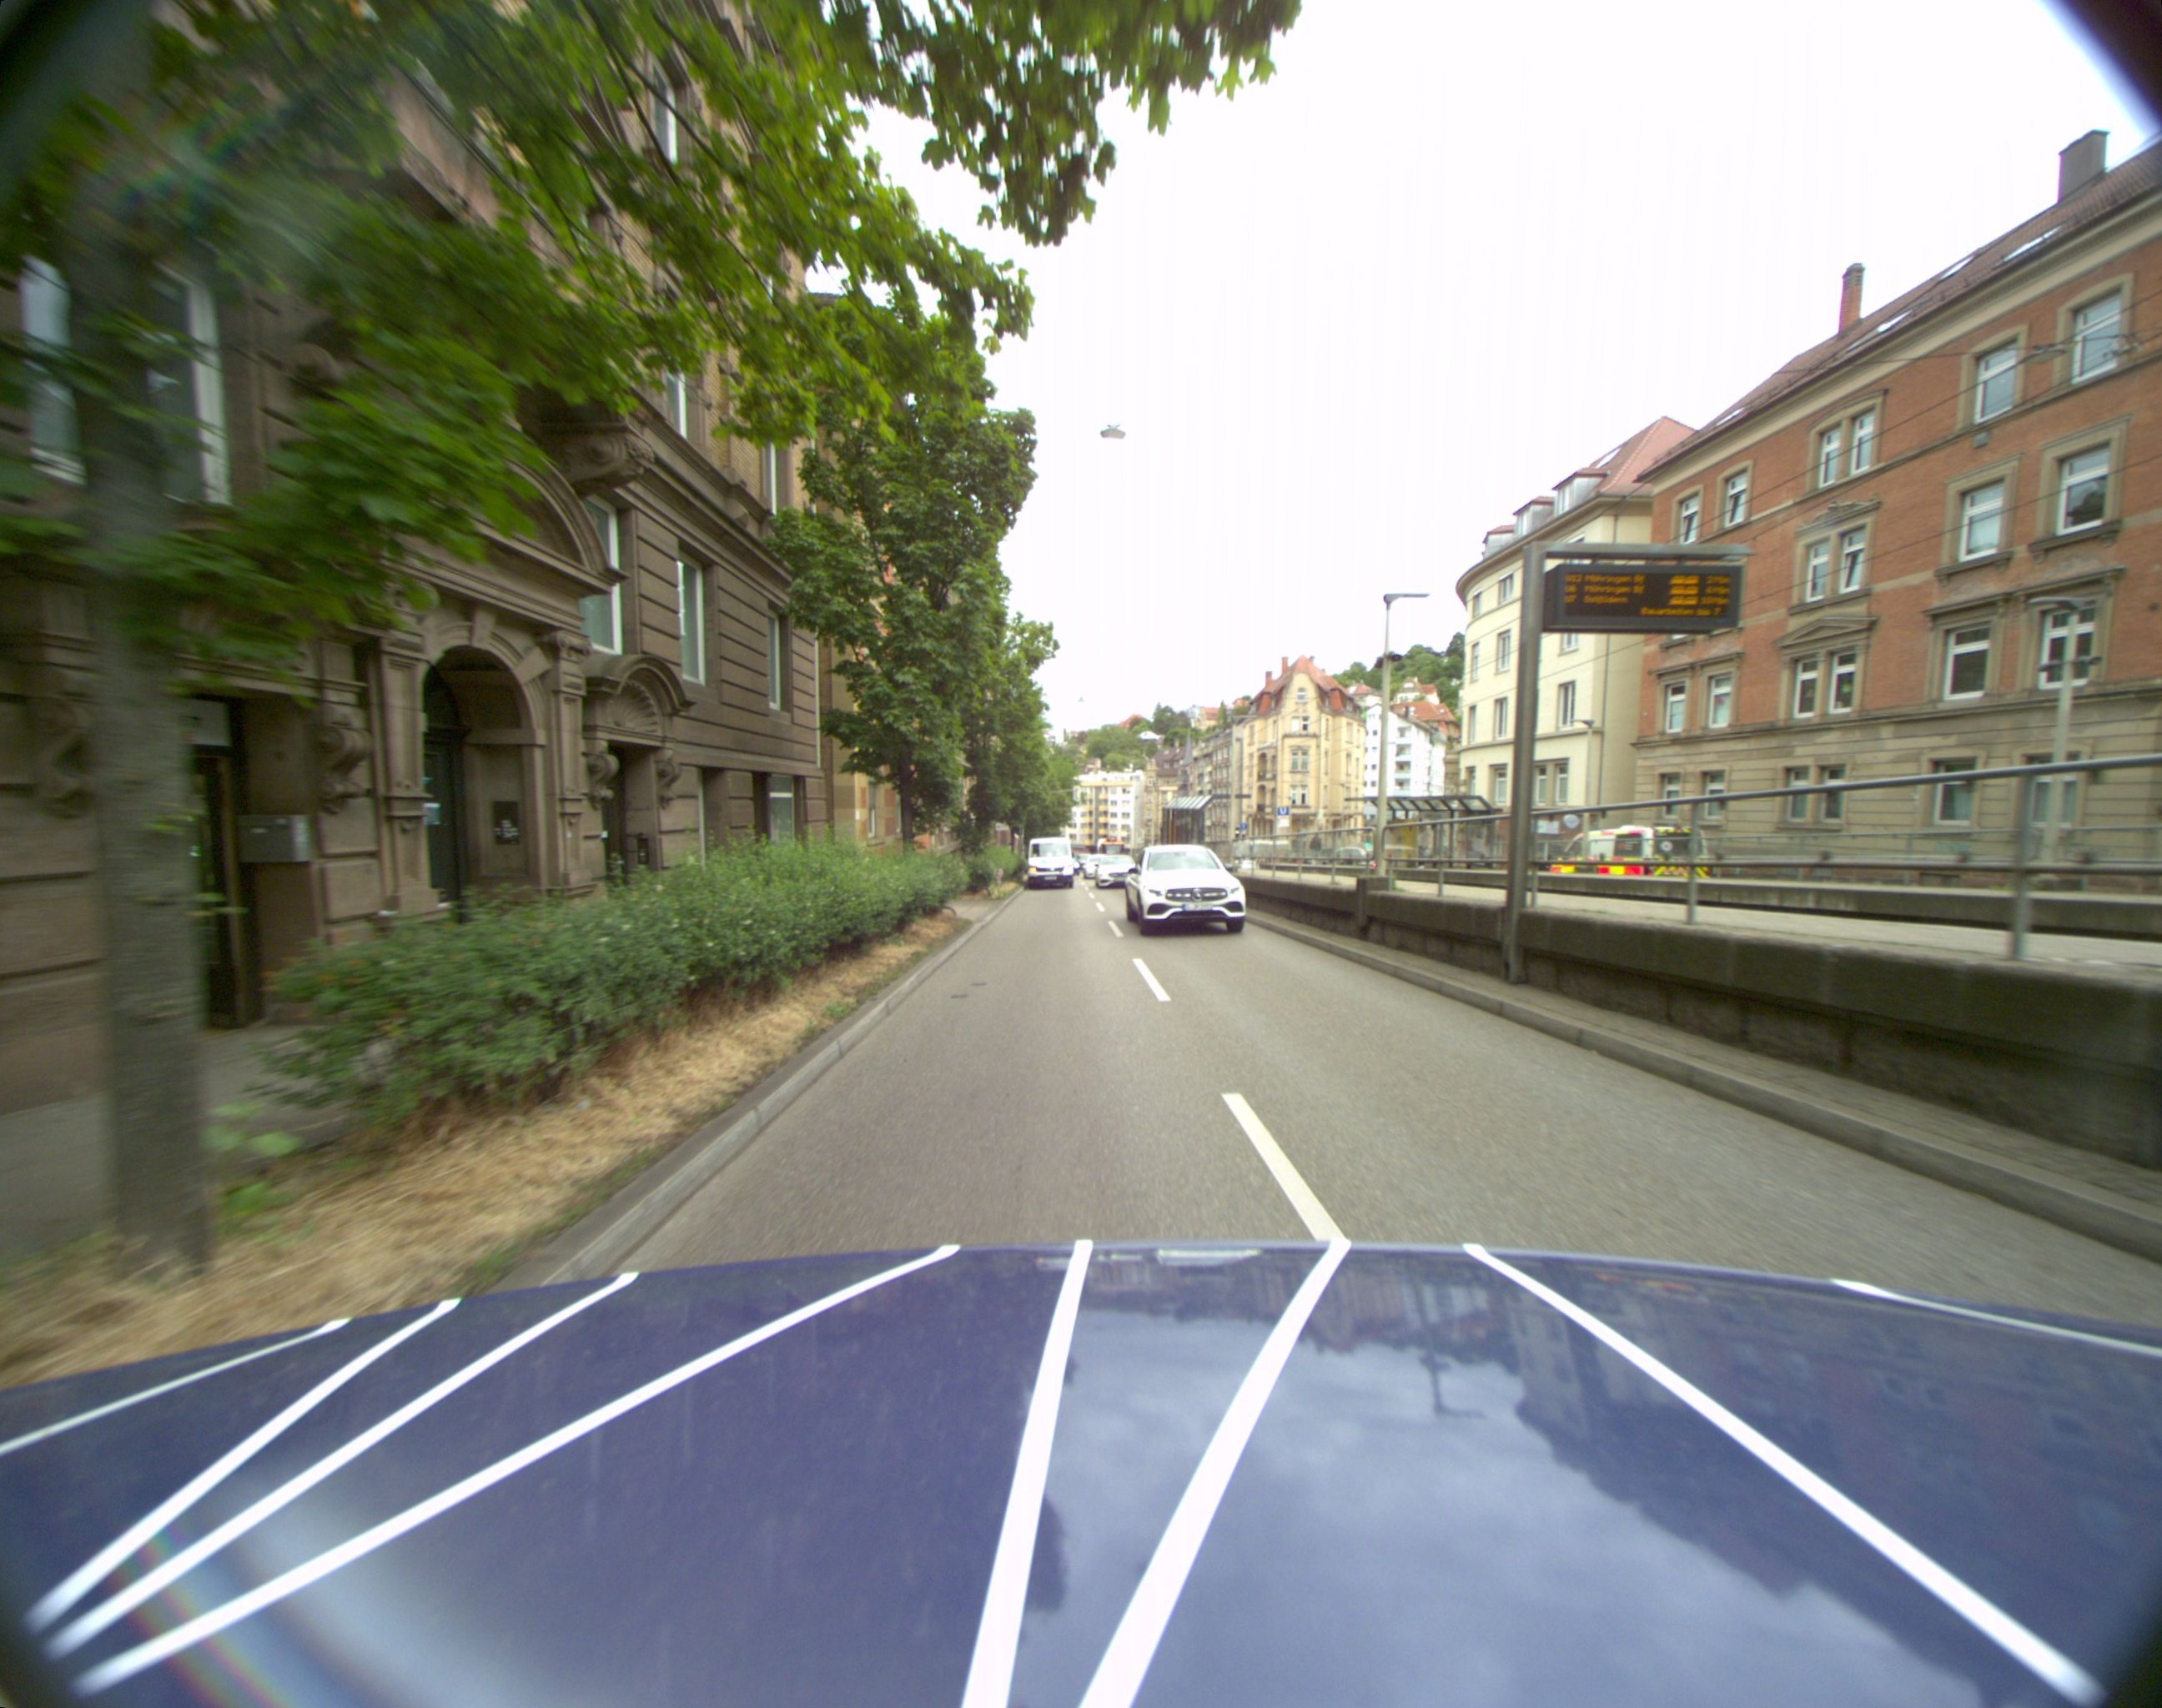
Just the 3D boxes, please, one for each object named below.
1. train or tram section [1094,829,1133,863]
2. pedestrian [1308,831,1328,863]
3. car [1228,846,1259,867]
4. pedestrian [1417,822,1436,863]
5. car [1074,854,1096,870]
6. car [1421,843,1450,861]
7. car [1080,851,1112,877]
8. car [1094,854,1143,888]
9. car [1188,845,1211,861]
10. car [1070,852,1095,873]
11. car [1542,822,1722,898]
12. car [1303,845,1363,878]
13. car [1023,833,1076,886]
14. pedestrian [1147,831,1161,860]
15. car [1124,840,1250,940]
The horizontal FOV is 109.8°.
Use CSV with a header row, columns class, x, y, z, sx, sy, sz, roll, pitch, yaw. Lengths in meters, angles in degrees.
class,x,y,z,sx,sy,sz,roll,pitch,yaw
train or tram section,3.461,-0.794,84.229,2.968,3.456,14.404,0,0,-3
pedestrian,12.784,-0.365,41.005,0.767,1.678,0.843,0,1,-1
car,13.908,0.190,65.208,1.827,1.754,3.863,0,0,0
pedestrian,13.071,-0.435,28.747,0.463,1.553,0.540,0,1,-2
car,0.306,0.692,67.733,1.563,1.330,3.998,0,0,-5
car,35.274,-0.200,75.573,1.846,1.724,4.389,0,0,36
car,0.907,0.580,47.236,1.806,1.542,3.999,-1,0,-1
car,1.577,0.696,33.152,1.806,1.392,3.999,-1,0,-2
car,13.438,-0.109,86.463,1.850,1.723,4.379,0,0,-2
car,0.089,0.568,54.884,1.695,1.466,3.856,0,1,-1
car,18.210,0.154,25.540,1.999,2.291,5.454,0,1,-1
car,15.150,0.419,45.974,1.999,1.884,4.413,0,1,-2
car,-1.430,0.236,35.849,2.263,2.274,5.966,-1,0,-1
pedestrian,4.416,-0.501,45.798,0.767,1.705,0.766,0,1,-1
car,1.943,0.575,15.336,1.840,1.657,4.669,-2,1,0
